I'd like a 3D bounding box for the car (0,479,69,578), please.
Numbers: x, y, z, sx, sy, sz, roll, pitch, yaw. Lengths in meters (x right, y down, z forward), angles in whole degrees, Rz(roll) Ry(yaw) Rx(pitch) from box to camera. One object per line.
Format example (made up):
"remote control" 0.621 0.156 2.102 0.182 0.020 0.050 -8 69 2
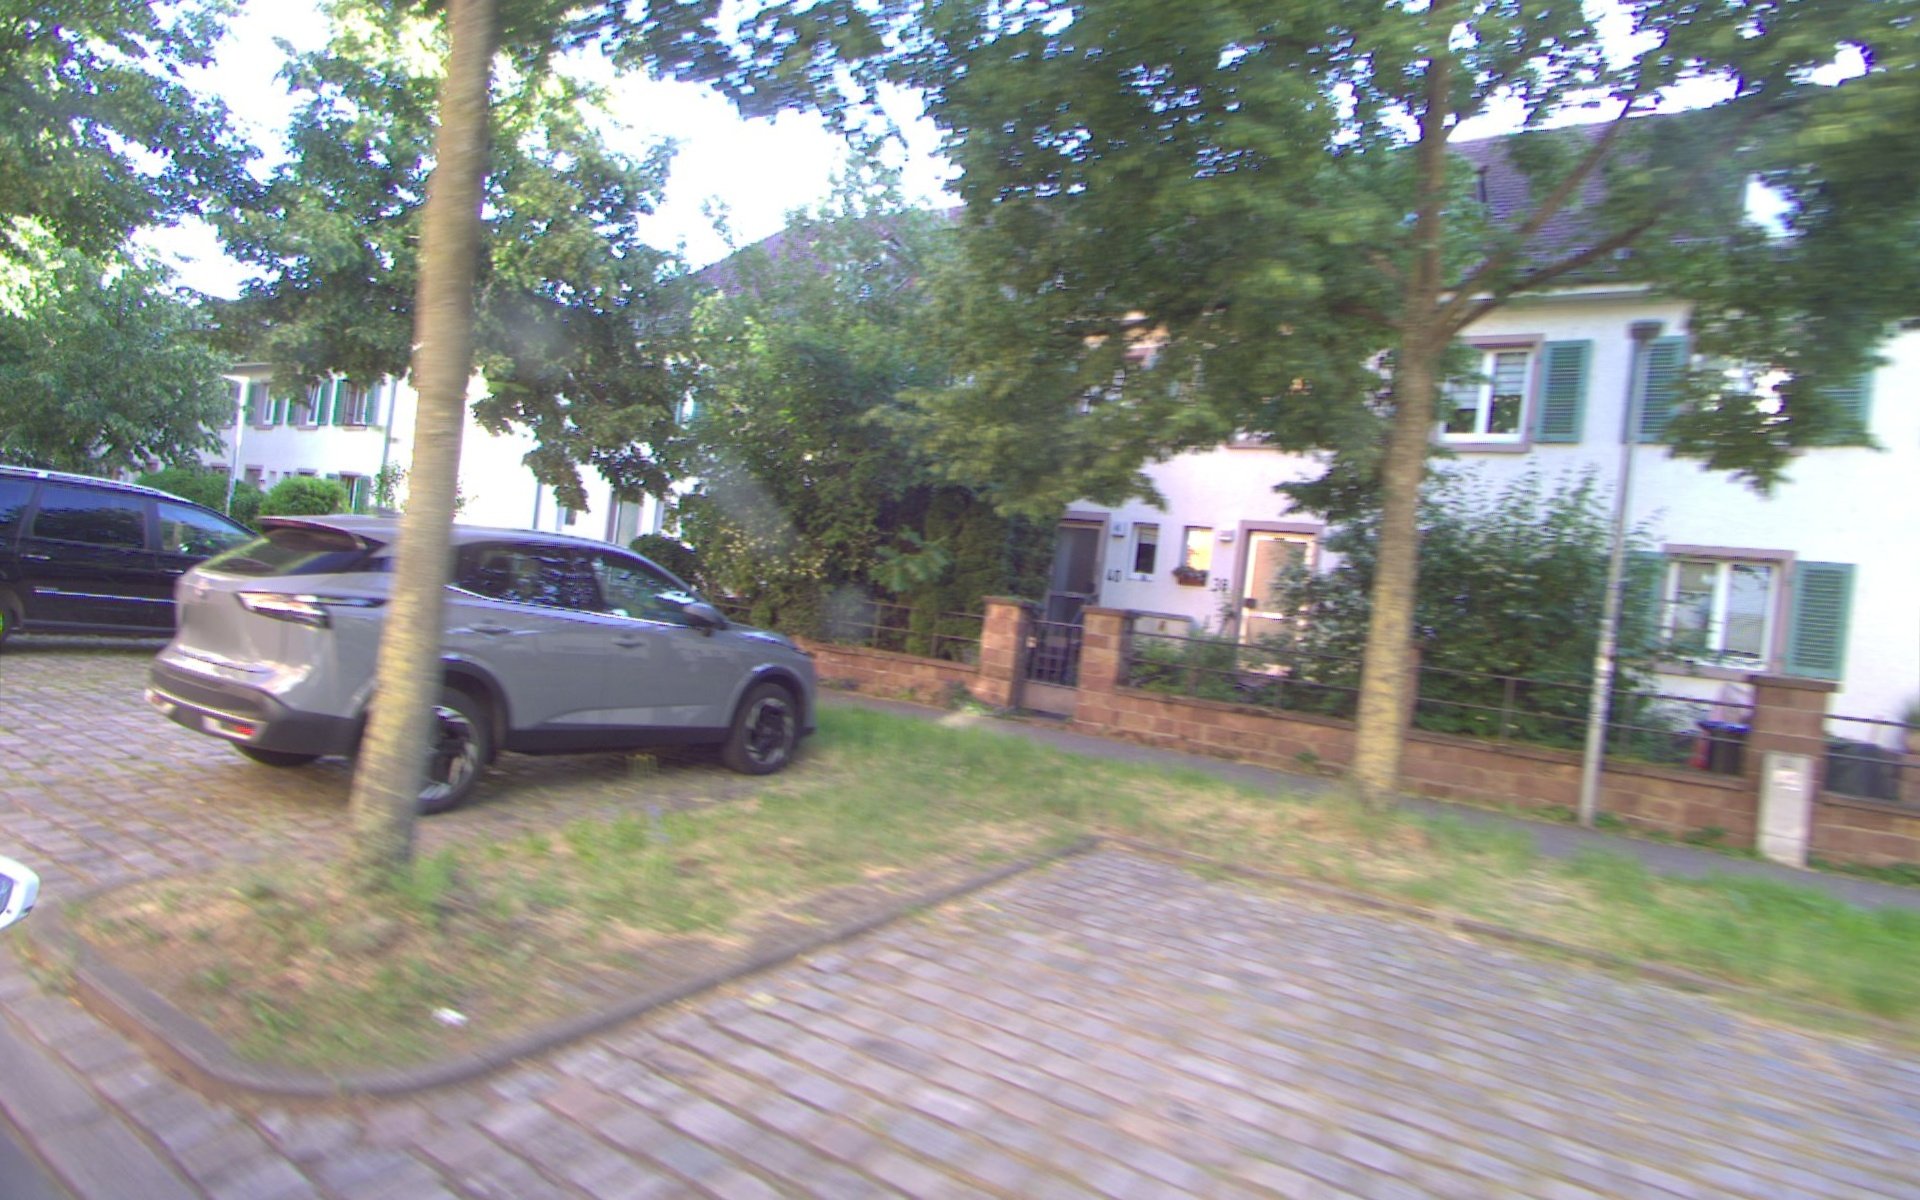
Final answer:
"car" -17.702 -1.348 16.284 1.780 1.655 4.545 6 2 26

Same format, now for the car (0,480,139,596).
"car" -15.145 -1.038 14.920 1.663 1.655 4.270 7 2 35

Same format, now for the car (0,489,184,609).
"car" -12.860 -0.738 13.331 1.562 1.473 3.723 7 2 31

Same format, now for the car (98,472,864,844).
"car" -2.795 0.280 6.999 1.844 1.655 4.478 6 2 30

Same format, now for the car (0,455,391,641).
"car" -8.926 -0.517 10.714 1.876 1.699 4.580 7 2 33
